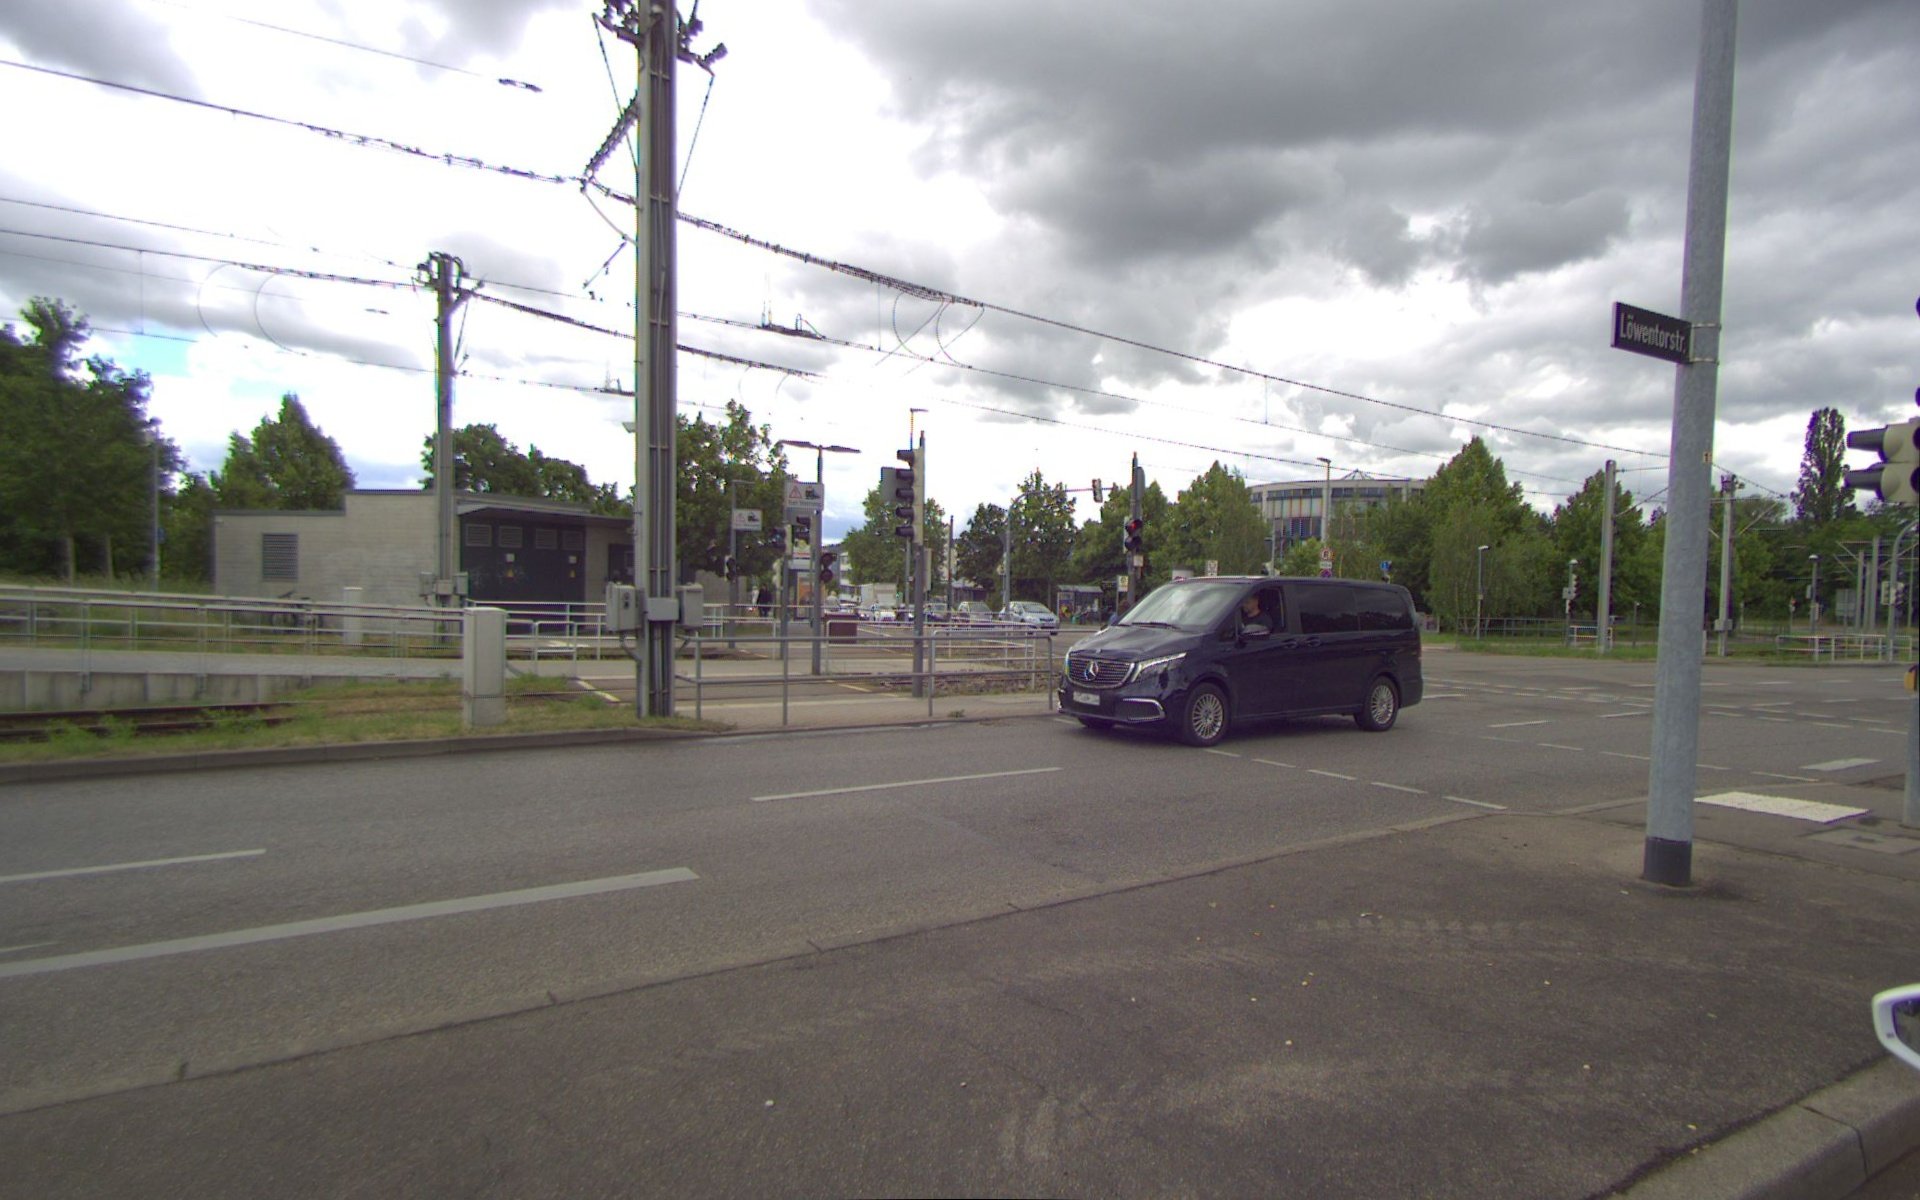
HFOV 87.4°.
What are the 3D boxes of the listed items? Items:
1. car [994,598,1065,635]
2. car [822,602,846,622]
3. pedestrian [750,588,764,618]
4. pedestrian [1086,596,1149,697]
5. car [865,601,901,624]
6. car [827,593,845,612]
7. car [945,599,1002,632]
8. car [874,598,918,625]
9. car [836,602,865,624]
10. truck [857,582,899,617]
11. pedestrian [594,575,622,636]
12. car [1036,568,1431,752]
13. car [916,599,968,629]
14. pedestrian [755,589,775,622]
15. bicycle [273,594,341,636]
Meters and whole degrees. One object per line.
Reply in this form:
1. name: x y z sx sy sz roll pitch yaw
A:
1. car: 3.196 0.733 46.893 1.848 1.617 3.982 2 0 -20
2. car: -12.028 1.117 95.785 1.869 1.805 3.990 1 0 -13
3. pedestrian: -10.629 0.143 52.577 0.633 1.557 0.521 2 0 -2
4. pedestrian: 2.523 0.731 16.101 0.712 1.557 0.630 2 0 -33
5. car: -5.770 0.925 74.892 1.775 1.617 3.985 2 0 -17
6. car: -14.629 0.288 118.100 1.964 2.218 5.800 1 0 -9
7. car: 0.664 0.794 53.859 1.776 1.617 3.982 2 0 -20
8. car: -4.154 0.697 64.569 1.776 1.617 3.982 2 0 -20
9. car: -9.461 1.139 86.582 1.869 1.805 3.988 1 0 -14
10. truck: -8.933 -0.122 108.759 2.966 3.580 9.255 1 0 -15
11. pedestrian: -10.363 0.153 29.594 0.700 1.751 0.674 2 0 -19
12. car: 3.479 0.649 12.271 5.041 1.836 1.875 1 -1 -35
13. car: -1.067 0.761 58.033 1.776 1.617 3.982 2 0 -20
14. pedestrian: -8.230 0.218 42.404 0.590 1.377 0.617 2 0 8
15. bicycle: -17.361 0.394 26.706 1.778 1.045 0.536 2 0 21
